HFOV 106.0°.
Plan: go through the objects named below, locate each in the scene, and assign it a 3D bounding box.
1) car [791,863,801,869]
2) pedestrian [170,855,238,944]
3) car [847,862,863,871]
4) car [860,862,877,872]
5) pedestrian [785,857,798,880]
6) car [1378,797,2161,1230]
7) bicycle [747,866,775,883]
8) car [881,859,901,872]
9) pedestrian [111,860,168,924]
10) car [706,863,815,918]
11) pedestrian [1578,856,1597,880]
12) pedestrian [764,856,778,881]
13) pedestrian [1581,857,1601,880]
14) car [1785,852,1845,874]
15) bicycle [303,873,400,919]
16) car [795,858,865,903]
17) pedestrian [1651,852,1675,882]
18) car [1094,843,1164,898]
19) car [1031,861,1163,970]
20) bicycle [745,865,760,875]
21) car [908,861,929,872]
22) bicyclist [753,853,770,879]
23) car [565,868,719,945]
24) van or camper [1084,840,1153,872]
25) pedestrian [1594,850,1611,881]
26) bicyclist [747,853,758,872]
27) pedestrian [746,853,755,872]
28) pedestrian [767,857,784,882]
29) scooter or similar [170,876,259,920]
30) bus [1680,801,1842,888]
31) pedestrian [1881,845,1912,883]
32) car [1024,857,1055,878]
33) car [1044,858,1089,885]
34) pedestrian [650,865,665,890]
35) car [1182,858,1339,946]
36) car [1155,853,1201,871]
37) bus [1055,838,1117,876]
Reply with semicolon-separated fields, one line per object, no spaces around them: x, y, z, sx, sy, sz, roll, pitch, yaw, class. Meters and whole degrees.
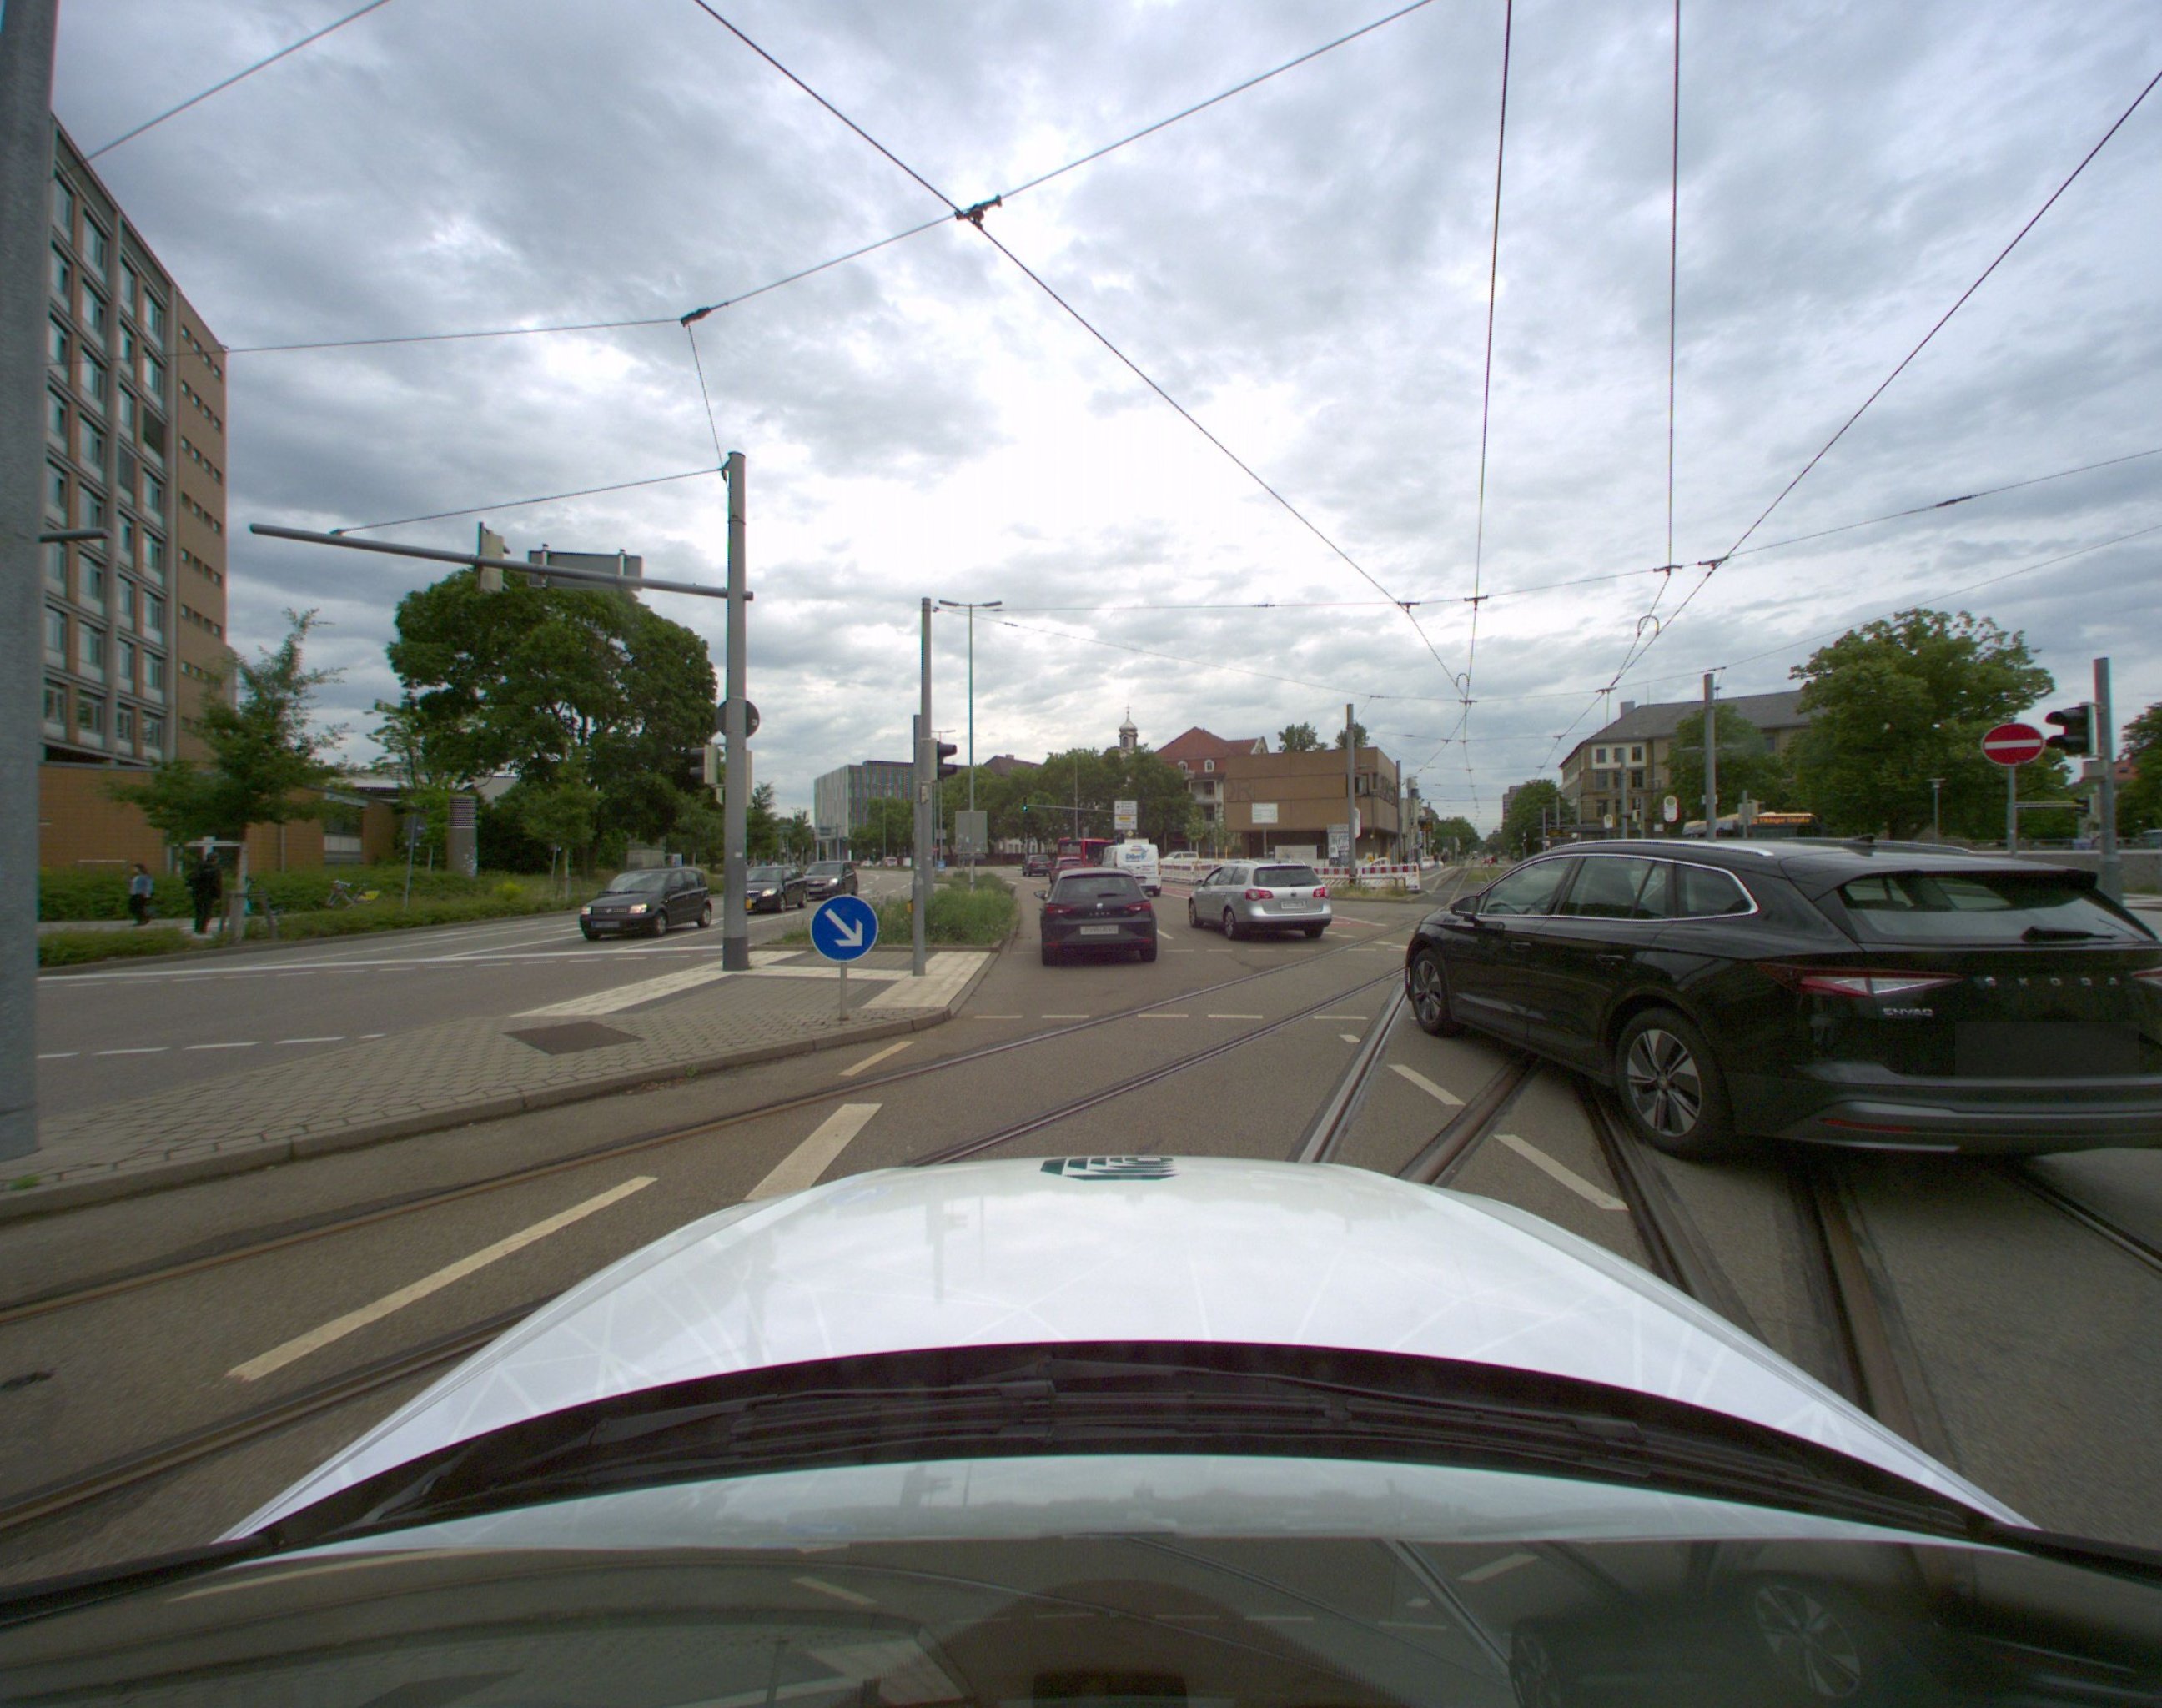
-69.110;2.915;197.256;1.721;1.265;3.309;0;-1;-28;car
-19.943;1.019;18.538;0.816;1.981;0.658;-1;-1;1;pedestrian
-42.669;2.348;153.798;2.007;1.682;3.970;0;-1;-32;car
-37.546;2.253;143.803;2.006;1.640;3.961;0;-1;-30;car
-22.807;1.141;64.163;0.892;1.842;0.665;0;-1;-8;pedestrian
3.751;0.639;5.412;1.897;1.658;4.513;0;-1;0;car
-22.960;1.472;58.439;0.782;1.159;1.917;-1;-1;23;bicycle
-30.688;1.841;131.540;2.007;2.014;3.960;0;-1;-32;car
-25.906;1.030;22.413;0.744;1.734;0.686;-1;-1;1;pedestrian
-10.044;1.099;25.912;1.866;1.508;4.473;-2;-1;-3;car
32.675;0.898;52.537;1.008;1.576;1.014;-1;-1;30;pedestrian
-23.158;1.057;60.841;0.756;1.842;0.764;-2;-1;-7;pedestrian
31.746;0.900;50.672;1.008;1.403;1.014;-1;-1;32;pedestrian
57.411;0.706;63.773;1.895;1.662;4.017;-1;-1;16;car
-24.322;1.375;27.222;0.839;1.449;2.265;-1;-1;21;bicycle
-10.534;1.096;34.549;1.868;1.725;4.703;-1;-1;-5;car
32.221;0.729;45.104;0.995;1.645;1.027;-1;-1;31;pedestrian
1.806;0.636;32.274;1.991;2.019;5.021;0;-1;-6;car
0.112;0.890;13.471;1.743;1.464;3.993;-2;-1;-5;car
-27.827;1.340;68.948;0.715;0.882;1.877;0;-1;-9;bicycle
-24.613;1.848;123.530;1.929;1.684;3.961;0;-1;-30;car
-22.948;0.857;58.498;0.783;1.844;0.838;-1;-1;22;bicyclist
-9.708;1.089;18.333;1.615;1.515;3.660;-1;-1;-3;car
4.116;0.272;90.045;7.172;3.332;2.849;0;-2;-29;van or camper
30.383;0.678;47.447;0.816;1.808;1.027;-1;-1;31;pedestrian
-27.840;0.728;69.078;0.715;1.570;0.709;0;-1;-10;bicyclist
-35.316;0.913;87.052;0.756;2.014;1.041;0;-1;-16;pedestrian
-23.340;1.182;62.184;1.047;1.842;0.864;0;-1;-8;pedestrian
-26.546;1.334;24.969;1.774;1.302;0.626;0;-1;-17;scooter or similar
30.252;-0.253;37.011;2.988;3.268;13.120;-1;-1;28;bus
40.975;0.503;40.926;0.816;1.853;1.027;-1;-1;31;pedestrian
-3.270;1.075;63.675;1.993;1.566;4.191;0;-1;-9;car
-0.924;1.042;49.121;1.860;1.600;4.186;0;-1;-13;car
-25.531;1.412;49.106;0.561;1.541;0.753;0;-1;-8;pedestrian
3.410;0.855;16.453;1.718;1.482;4.618;-1;-1;-6;car
11.234;0.905;93.986;5.018;1.865;1.981;0;-4;-29;car
0.719;0.372;77.282;3.036;3.298;12.424;0;-1;14;bus
